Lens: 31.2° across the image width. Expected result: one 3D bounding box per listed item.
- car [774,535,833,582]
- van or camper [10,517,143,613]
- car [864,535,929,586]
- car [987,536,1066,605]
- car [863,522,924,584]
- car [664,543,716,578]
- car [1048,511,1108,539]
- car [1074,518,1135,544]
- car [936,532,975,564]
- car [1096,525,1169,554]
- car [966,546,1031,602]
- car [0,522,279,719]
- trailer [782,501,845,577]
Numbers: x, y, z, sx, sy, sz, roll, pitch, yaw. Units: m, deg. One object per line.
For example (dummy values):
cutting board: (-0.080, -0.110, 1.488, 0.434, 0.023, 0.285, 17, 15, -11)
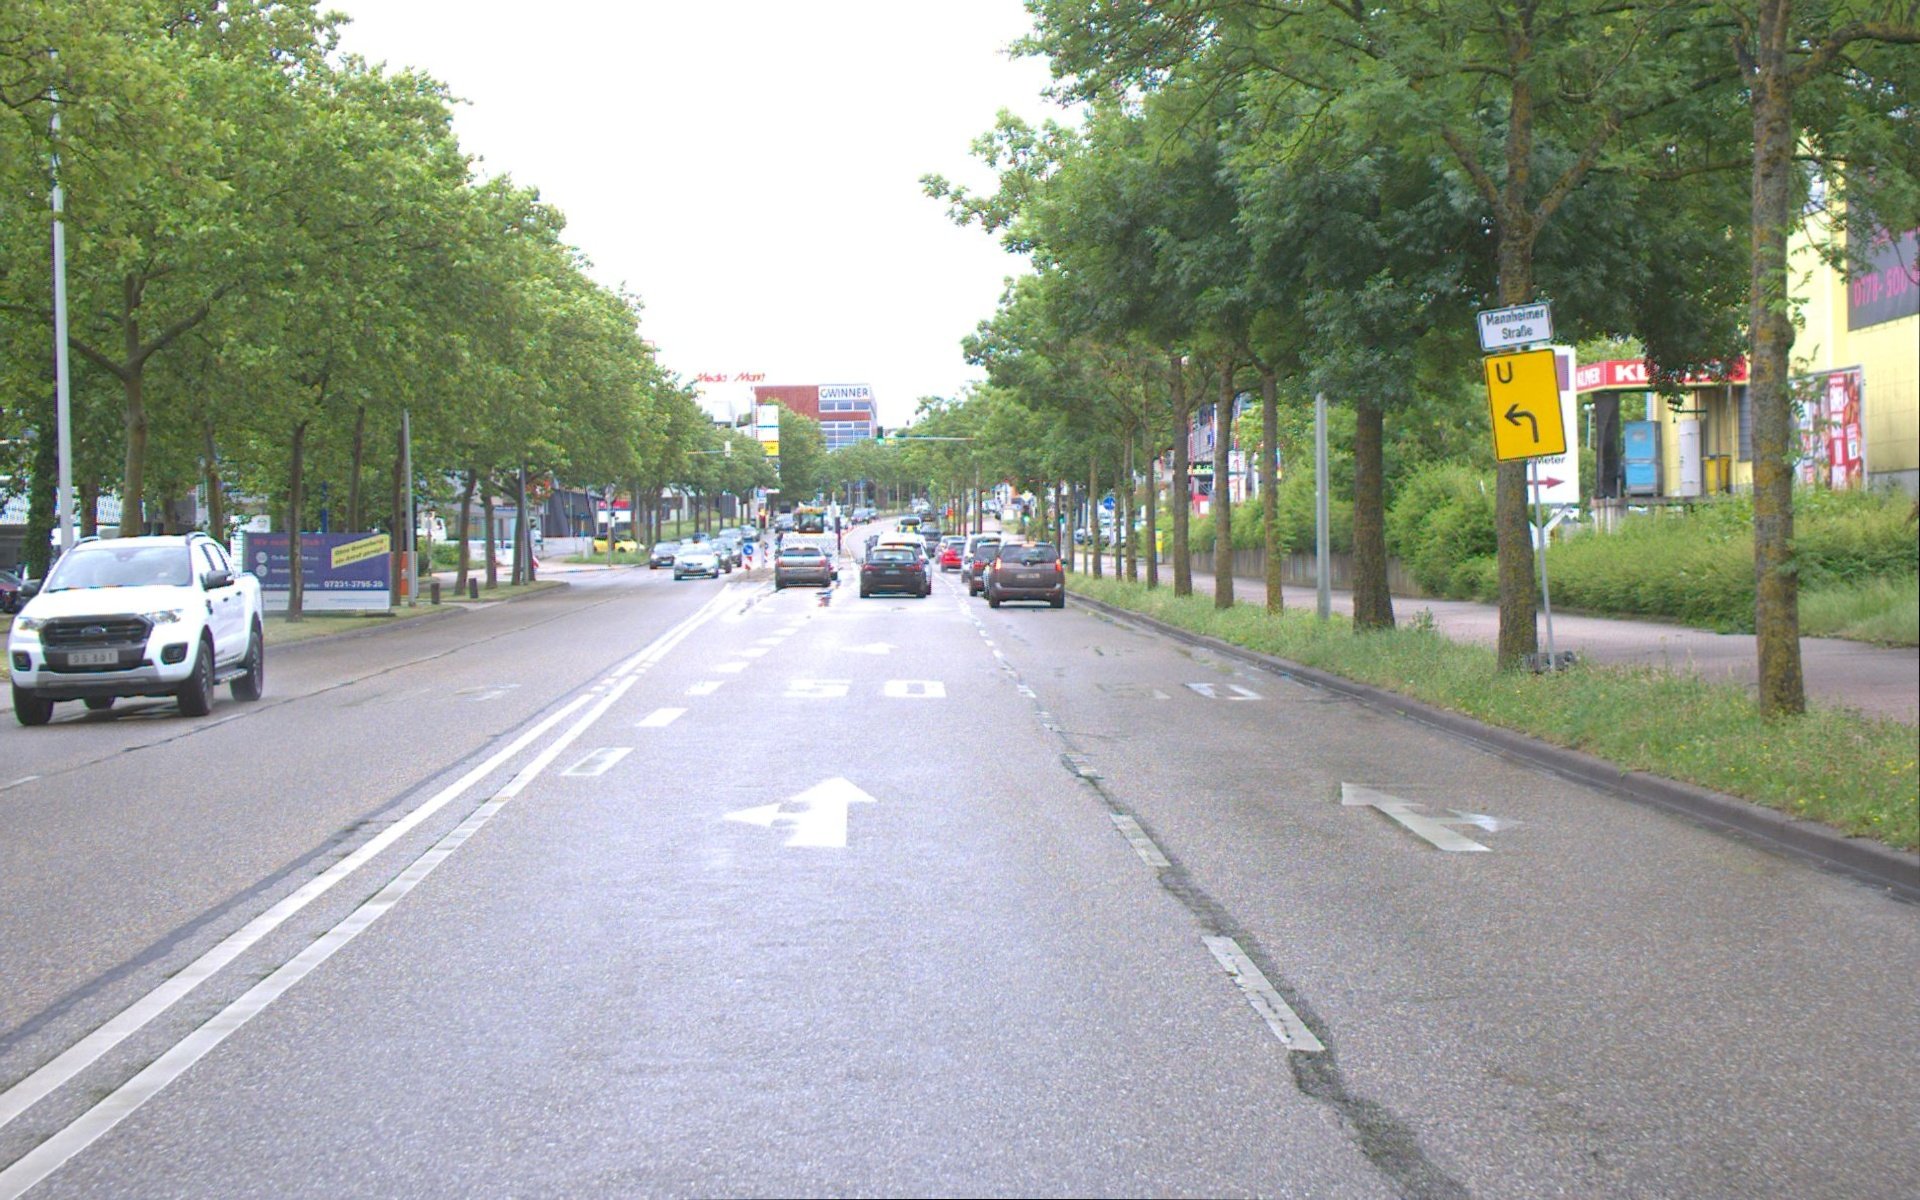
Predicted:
car: (-5.469, -1.457, 120.643, 1.907, 1.573, 4.881, -1, 1, -1)
van or camper: (-23.640, -0.961, 92.243, 1.993, 2.462, 6.402, 0, 1, -1)
car: (-1.819, -1.136, 97.369, 1.781, 1.393, 4.001, 0, 1, -2)
car: (1.600, -0.742, 83.947, 1.726, 1.619, 4.471, -1, 1, -1)
car: (-2.261, -1.573, 116.047, 1.993, 2.007, 4.000, 1, 0, -1)
car: (-11.561, -1.692, 146.942, 1.993, 1.424, 4.686, -2, 1, -7)
car: (8.342, -5.314, 243.270, 4.111, 1.898, 1.800, -1, 2, 0)
car: (8.993, -4.317, 213.787, 3.589, 1.530, 1.643, -2, 2, -41)
car: (-0.205, -2.373, 156.203, 1.695, 1.438, 3.989, -1, 1, -1)
car: (9.852, -3.450, 195.779, 1.930, 1.571, 4.278, 0, 2, 40)
car: (1.132, -0.803, 103.343, 1.801, 1.581, 4.451, 1, 1, -1)
car: (-8.377, 0.148, 35.170, 1.911, 1.799, 5.342, -2, 1, -2)
trailer: (-5.776, -2.410, 135.562, 2.372, 2.887, 5.546, -1, 1, -3)
